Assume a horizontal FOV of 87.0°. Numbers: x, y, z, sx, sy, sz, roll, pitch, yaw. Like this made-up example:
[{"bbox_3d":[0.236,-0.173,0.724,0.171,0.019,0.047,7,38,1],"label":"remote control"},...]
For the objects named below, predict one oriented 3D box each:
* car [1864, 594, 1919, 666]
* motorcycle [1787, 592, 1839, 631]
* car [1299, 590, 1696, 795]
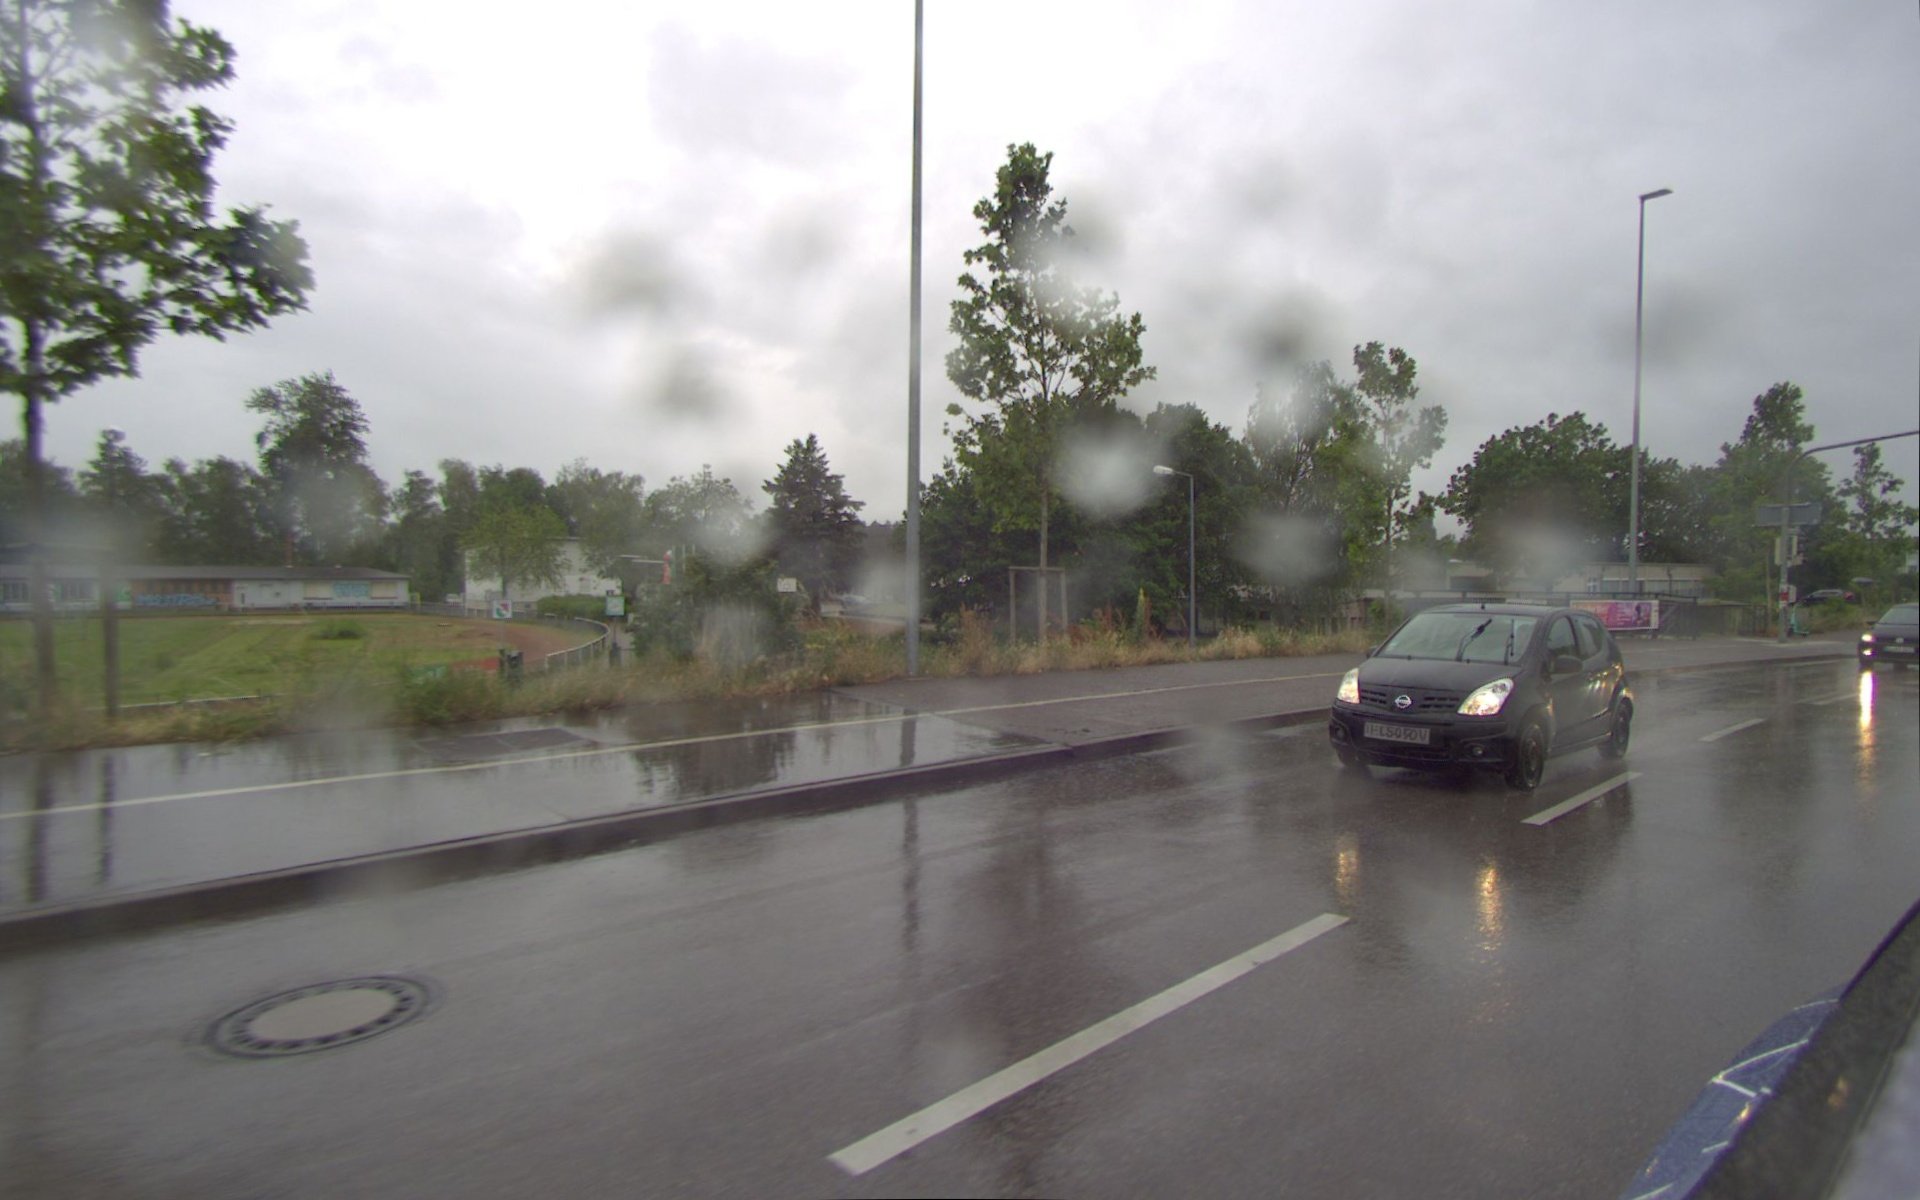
[{"bbox_3d":[21.775,0.654,22.363,3.964,1.503,1.717,1,0,-33],"label":"car"},{"bbox_3d":[27.545,0.368,32.683,1.417,1.233,0.635,1,2,-21],"label":"motorcycle"},{"bbox_3d":[5.039,0.684,9.278,4.017,1.480,1.776,1,0,-39],"label":"car"}]
